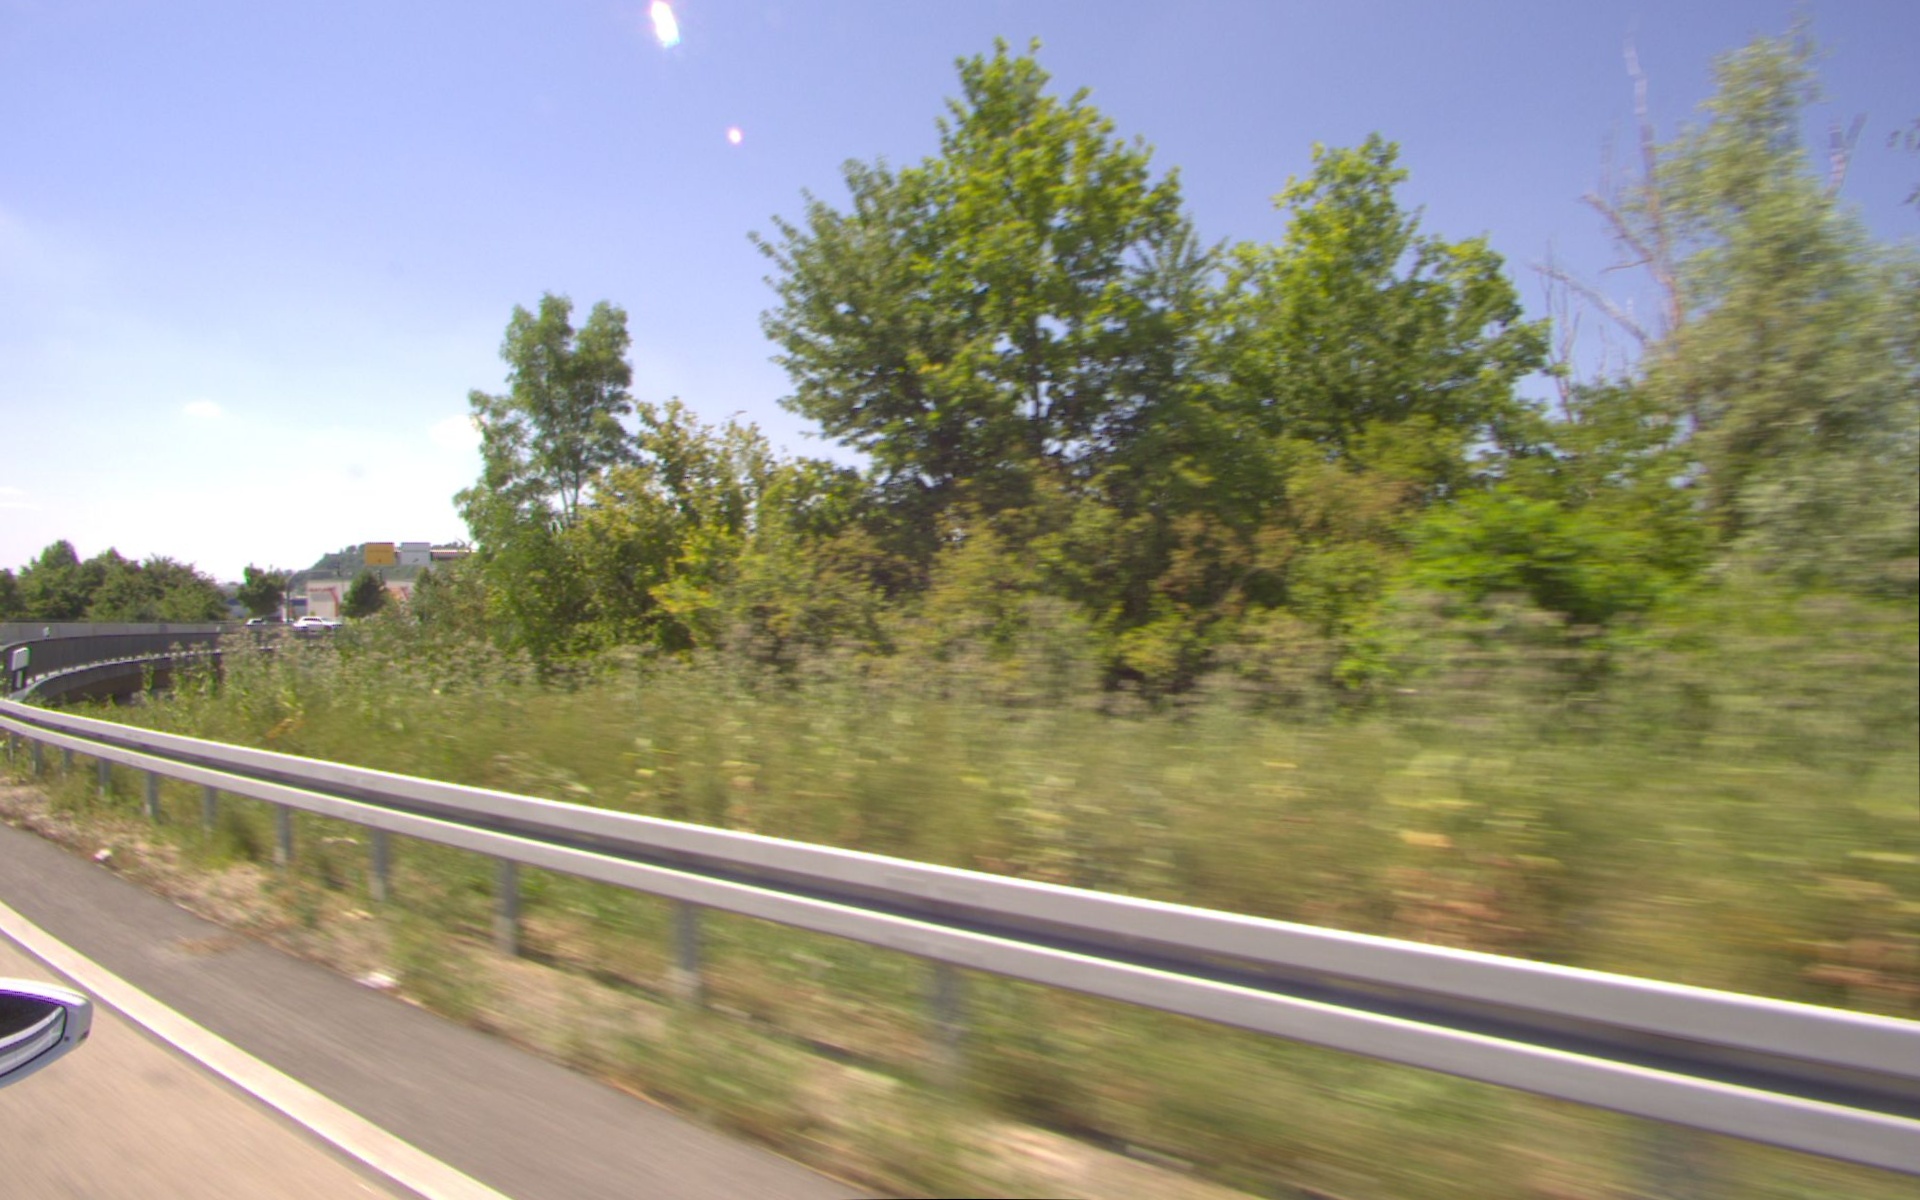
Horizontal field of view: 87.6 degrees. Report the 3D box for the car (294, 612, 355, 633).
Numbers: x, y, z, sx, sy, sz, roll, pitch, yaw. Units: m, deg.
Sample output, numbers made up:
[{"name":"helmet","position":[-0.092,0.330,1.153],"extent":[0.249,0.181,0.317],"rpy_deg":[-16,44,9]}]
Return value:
[{"name":"car","position":[-64.953,2.325,102.351],"extent":[4.771,1.990,2.102],"rpy_deg":[1,-2,-6]}]
